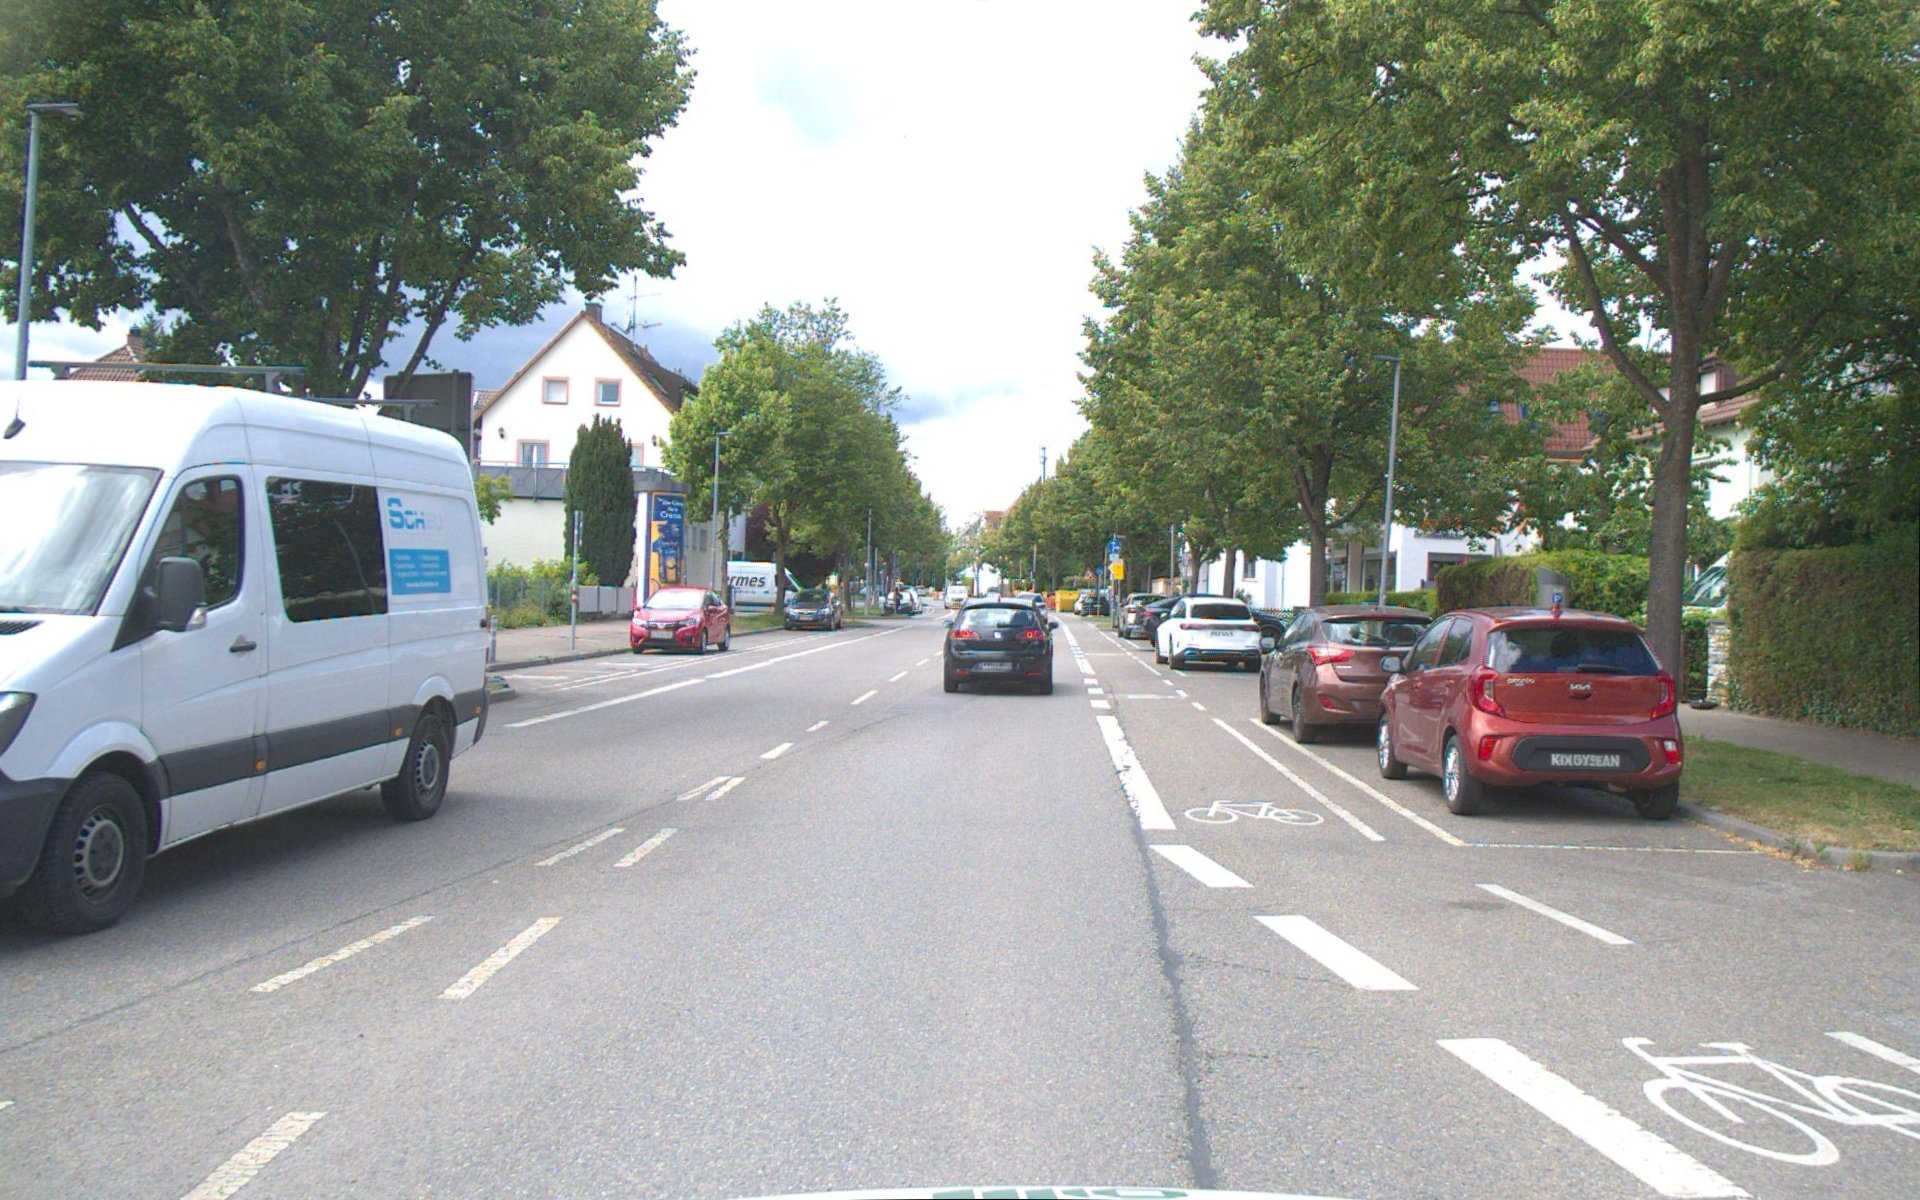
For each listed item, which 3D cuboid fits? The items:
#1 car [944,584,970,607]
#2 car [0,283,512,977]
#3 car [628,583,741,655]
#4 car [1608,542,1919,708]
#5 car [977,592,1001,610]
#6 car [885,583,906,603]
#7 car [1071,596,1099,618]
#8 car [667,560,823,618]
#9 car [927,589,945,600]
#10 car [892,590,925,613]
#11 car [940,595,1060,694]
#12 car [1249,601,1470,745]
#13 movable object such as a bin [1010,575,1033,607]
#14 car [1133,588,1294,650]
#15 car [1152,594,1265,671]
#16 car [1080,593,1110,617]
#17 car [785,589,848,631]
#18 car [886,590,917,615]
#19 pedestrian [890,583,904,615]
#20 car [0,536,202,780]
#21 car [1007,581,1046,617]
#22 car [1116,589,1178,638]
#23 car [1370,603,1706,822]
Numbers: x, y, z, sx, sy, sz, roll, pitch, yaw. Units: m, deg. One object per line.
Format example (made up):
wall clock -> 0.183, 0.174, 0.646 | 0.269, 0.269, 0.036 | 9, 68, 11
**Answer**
car -> -0.227, -0.363, 136.837 | 1.925, 1.862, 4.820 | 1, 0, 2
car -> -4.530, 0.084, 9.310 | 1.976, 2.720, 5.809 | 1, 0, 4
car -> -6.458, 0.408, 39.141 | 1.649, 1.568, 4.134 | 1, 0, 4
car -> 14.279, 0.407, 28.241 | 5.598, 2.637, 1.997 | 1, 1, -2
car -> 2.347, 0.075, 134.562 | 1.773, 1.399, 3.692 | 1, 0, -2
car -> -7.315, -0.853, 188.159 | 2.052, 2.213, 5.039 | 1, 0, -6
car -> 8.772, 0.495, 116.386 | 1.638, 1.488, 4.000 | 1, 0, 0
car -> -10.262, -0.525, 79.339 | 7.141, 2.639, 2.220 | 1, 0, -1
car -> -3.202, -0.765, 220.624 | 1.776, 1.440, 3.686 | 1, 0, -9
car -> -3.293, 0.103, 106.013 | 1.678, 1.431, 4.302 | 1, 0, 4
car -> 0.614, 0.662, 26.667 | 1.781, 1.463, 3.740 | 1, 0, 0
car -> 4.472, 0.755, 19.113 | 1.618, 1.440, 4.177 | 0, 0, 1
movable object such as a bin -> 5.144, -0.755, 138.806 | 1.732, 2.619, 3.740 | 1, 0, 0
car -> 6.965, 0.515, 45.697 | 4.133, 1.666, 1.692 | 0, 0, -3
car -> 5.245, 0.638, 35.521 | 1.768, 1.500, 4.813 | 1, 0, 1
car -> 8.679, 0.291, 106.597 | 1.670, 1.480, 4.617 | 1, 0, 1
car -> -5.310, 0.328, 61.588 | 1.695, 1.494, 4.303 | 1, 0, 4
car -> -3.515, 0.143, 99.371 | 1.609, 1.445, 4.021 | 0, 0, 1
pedestrian -> -3.483, -0.079, 91.201 | 0.531, 1.710, 0.751 | 3, 1, 11
car -> -7.913, 0.403, 12.738 | 1.733, 1.801, 4.554 | 1, 0, 4
car -> 3.283, -0.053, 81.625 | 1.866, 1.715, 3.741 | 1, 0, 2
car -> 6.441, 0.437, 57.352 | 1.686, 1.608, 4.061 | 1, 0, 0
car -> 4.462, 0.795, 13.306 | 1.532, 1.481, 3.669 | 1, -1, 2
